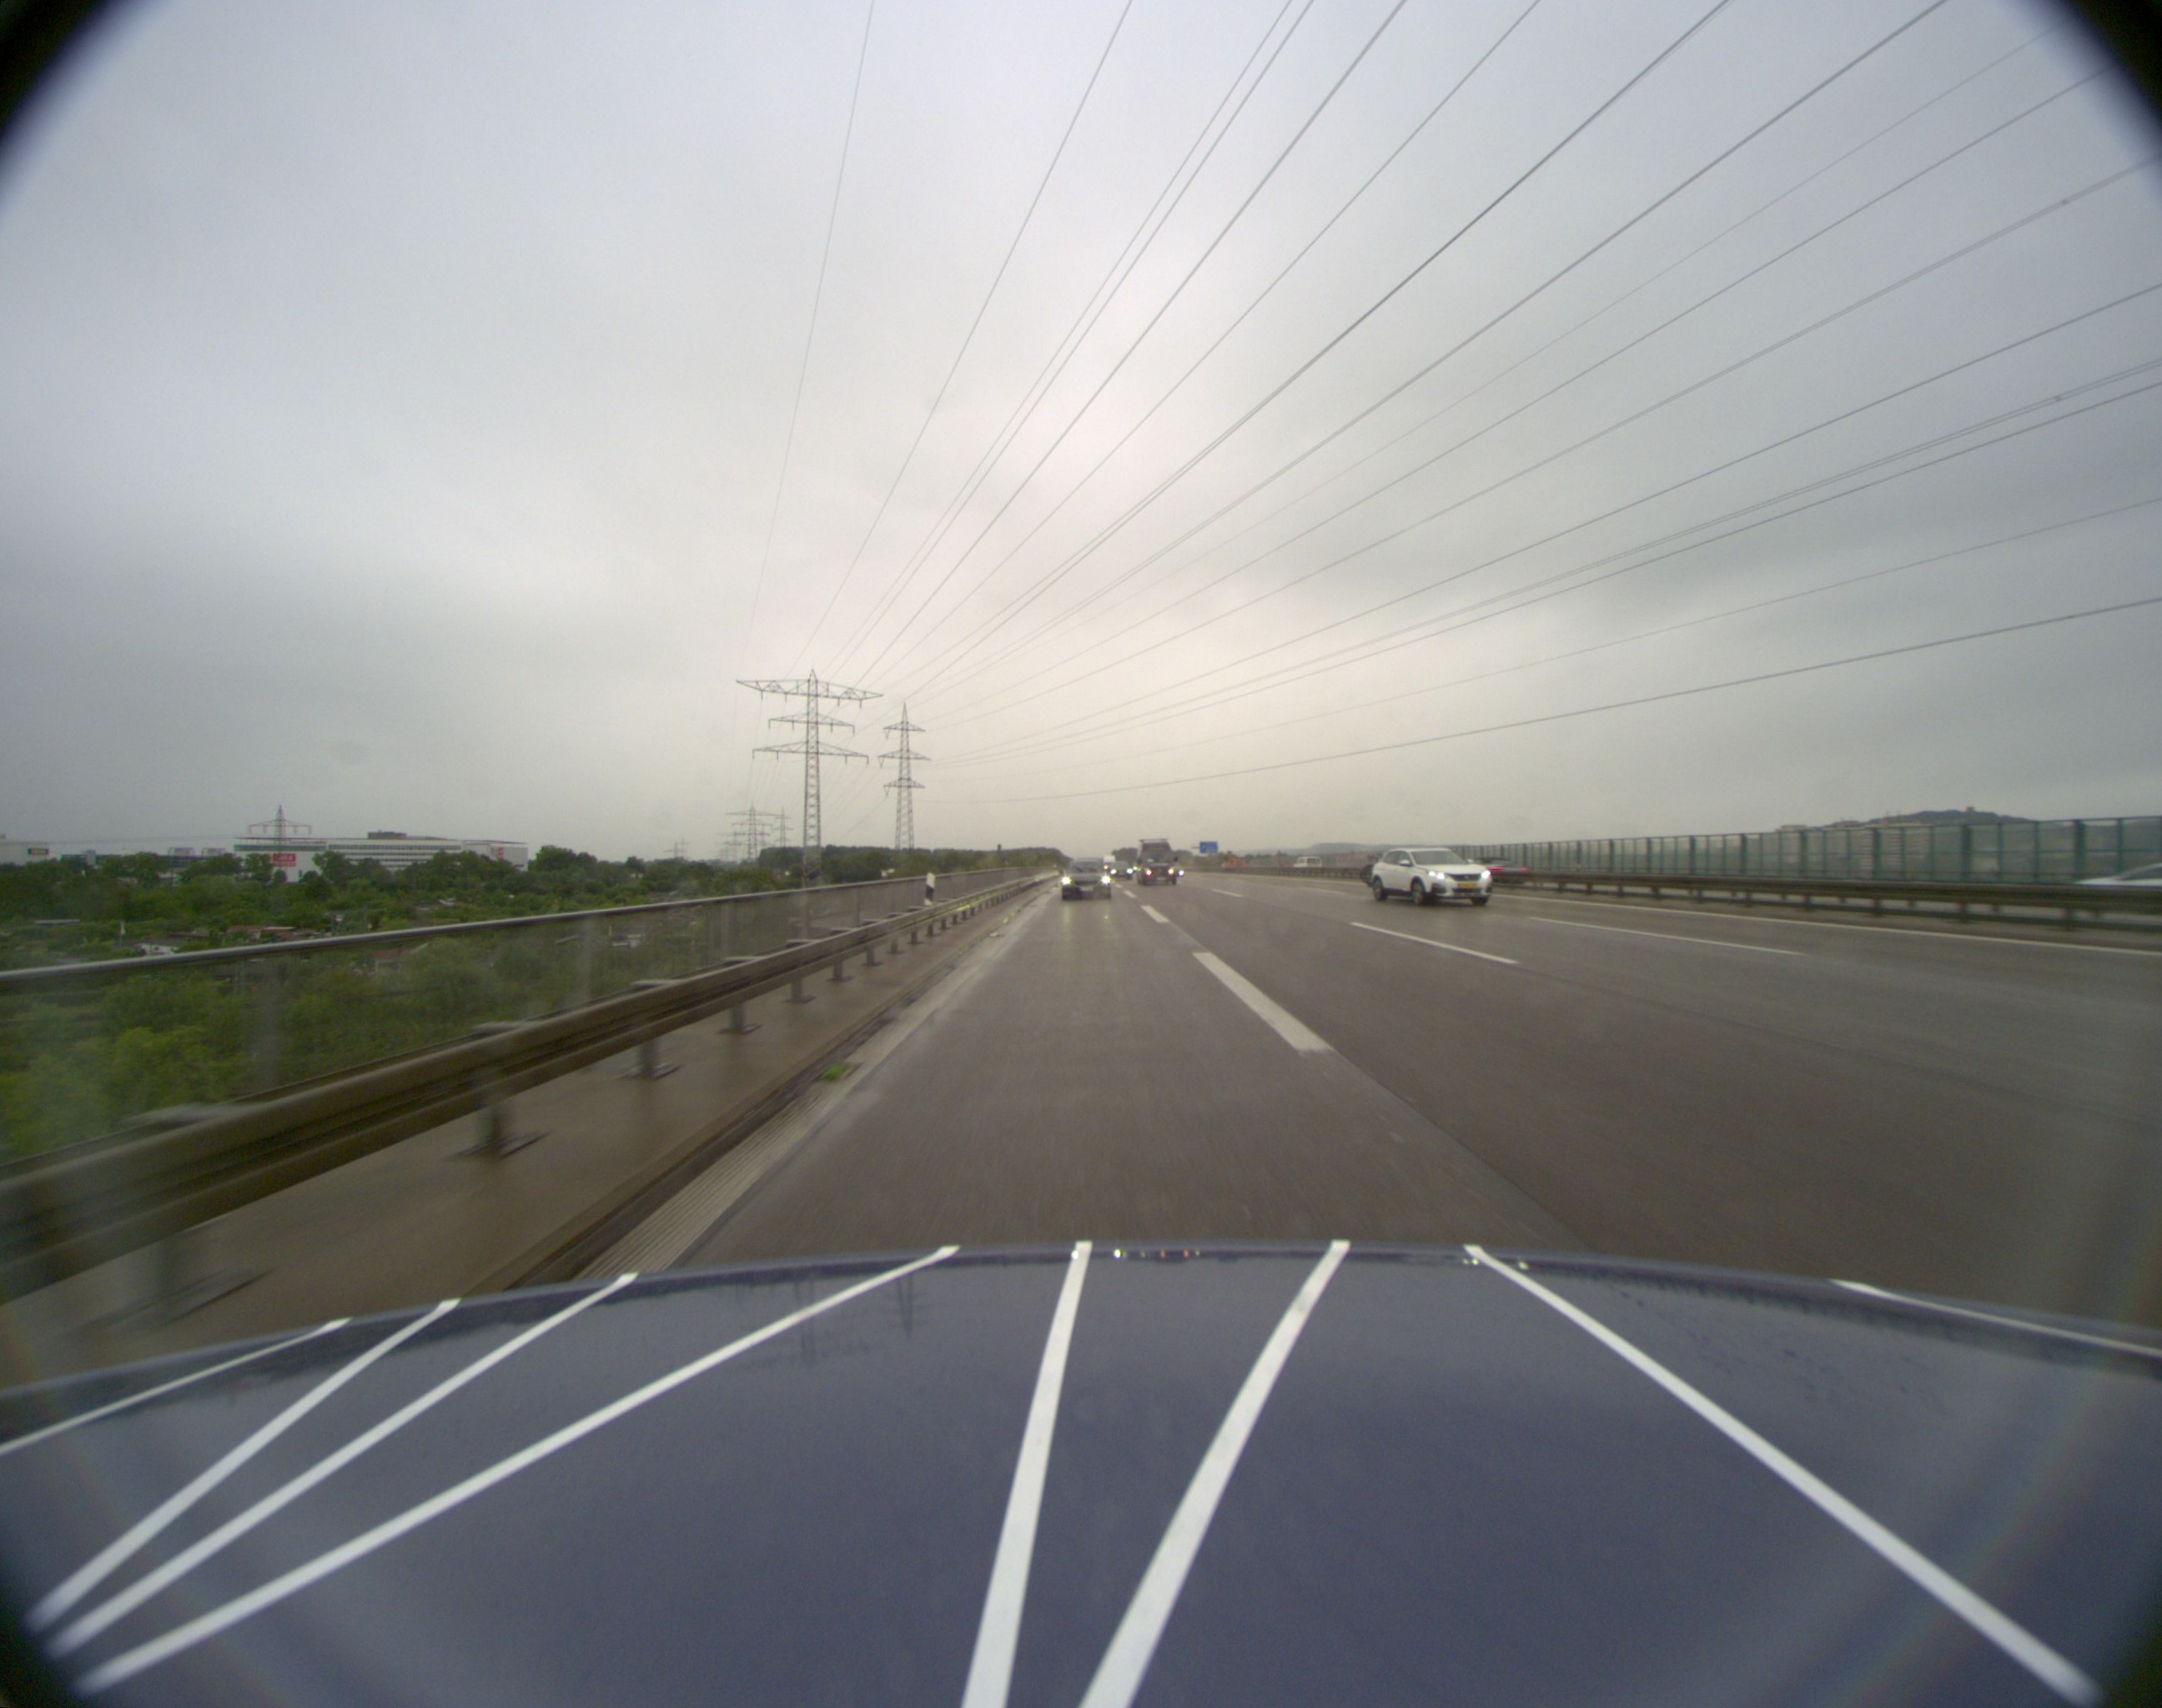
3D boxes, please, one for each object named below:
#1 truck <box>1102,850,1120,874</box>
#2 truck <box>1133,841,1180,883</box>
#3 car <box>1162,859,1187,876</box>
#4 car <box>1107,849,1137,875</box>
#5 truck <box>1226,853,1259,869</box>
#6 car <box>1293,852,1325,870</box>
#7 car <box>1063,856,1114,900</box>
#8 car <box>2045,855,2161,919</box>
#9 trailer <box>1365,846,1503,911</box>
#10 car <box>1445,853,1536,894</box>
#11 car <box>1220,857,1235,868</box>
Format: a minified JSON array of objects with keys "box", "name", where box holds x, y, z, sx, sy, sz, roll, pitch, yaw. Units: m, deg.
[{"box":[5.539,1.538,142.027,2.704,4.171,8.924,-2,-1,0],"name":"truck"},{"box":[4.424,0.469,45.542,1.999,2.324,6.110,-1,0,-1],"name":"truck"},{"box":[8.466,1.217,69.078,1.729,1.394,4.830,-2,-1,2],"name":"car"},{"box":[3.301,0.651,61.936,1.999,2.002,4.784,-2,0,-1],"name":"car"},{"box":[32.192,1.326,152.134,3.619,2.819,14.318,-2,1,1],"name":"truck"},{"box":[23.828,0.725,79.458,1.926,1.734,4.467,-2,1,0],"name":"car"},{"box":[0.256,0.918,30.499,1.862,1.531,4.202,-2,0,-1],"name":"car"},{"box":[30.174,0.897,20.624,1.999,1.655,4.701,-3,0,0],"name":"car"},{"box":[9.832,0.607,21.600,1.819,1.615,4.568,-1,0,1],"name":"trailer"},{"box":[19.461,0.861,36.325,1.846,1.734,4.467,2,1,0],"name":"car"},{"box":[24.205,1.402,125.618,1.629,1.575,3.786,-8,-1,1],"name":"car"}]
